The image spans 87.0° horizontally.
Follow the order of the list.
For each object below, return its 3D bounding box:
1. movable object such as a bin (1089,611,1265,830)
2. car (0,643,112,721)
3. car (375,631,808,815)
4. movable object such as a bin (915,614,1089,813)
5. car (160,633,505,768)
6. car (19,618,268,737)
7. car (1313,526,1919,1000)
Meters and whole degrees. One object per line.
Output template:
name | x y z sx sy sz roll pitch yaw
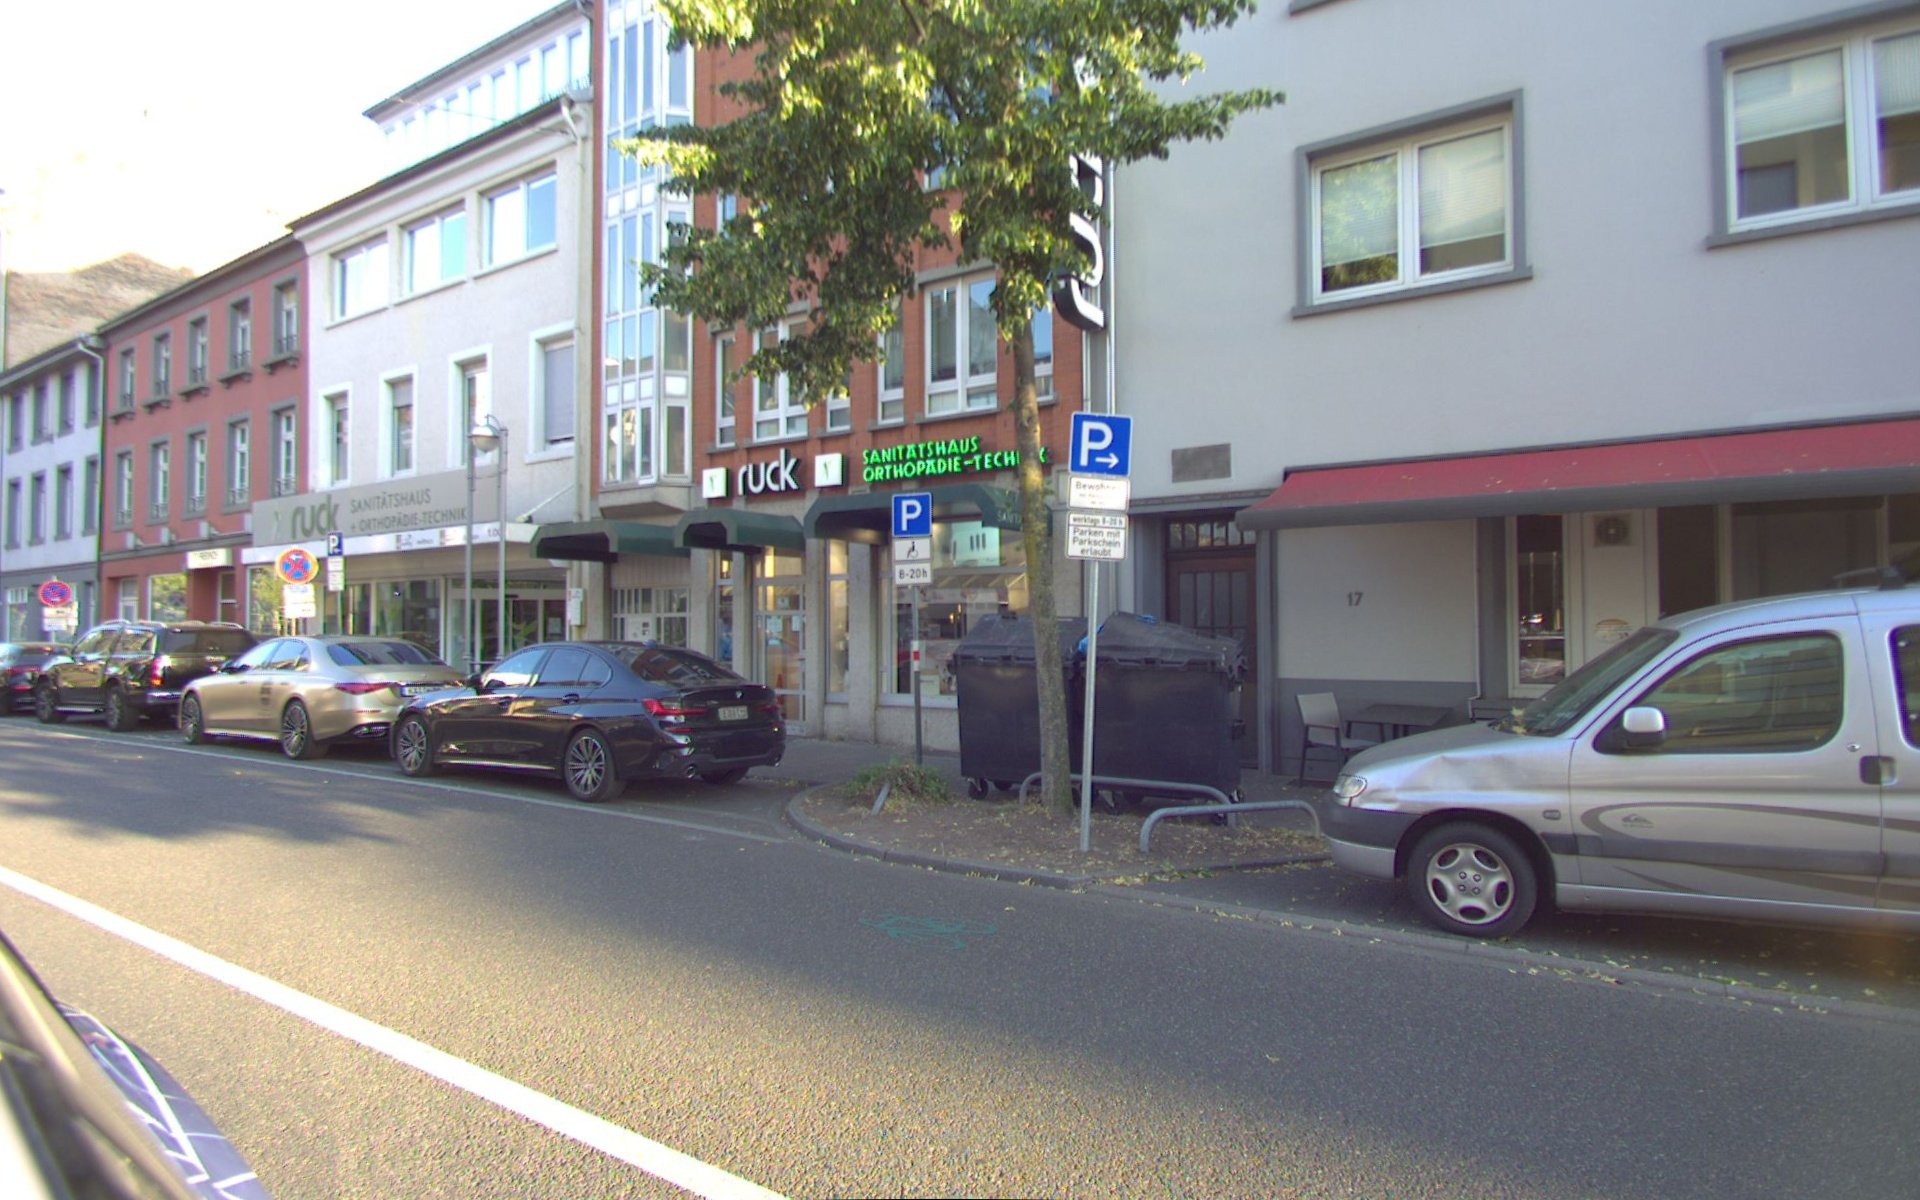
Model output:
movable object such as a bin | 1.776 0.926 8.262 1.203 1.632 0.775 -1 0 30
car | -19.241 1.638 20.709 4.001 1.448 1.688 -2 -5 32
car | -3.806 1.107 10.176 4.528 1.484 1.706 -2 -5 33
movable object such as a bin | 0.372 0.957 9.062 1.331 1.632 0.775 -1 -1 30
car | -8.424 1.228 13.423 5.094 1.484 1.977 -2 -4 34
car | -14.066 1.280 17.357 4.921 1.793 1.708 -2 -4 31
car | 3.993 0.704 4.980 4.038 1.902 1.657 -1 -4 31
